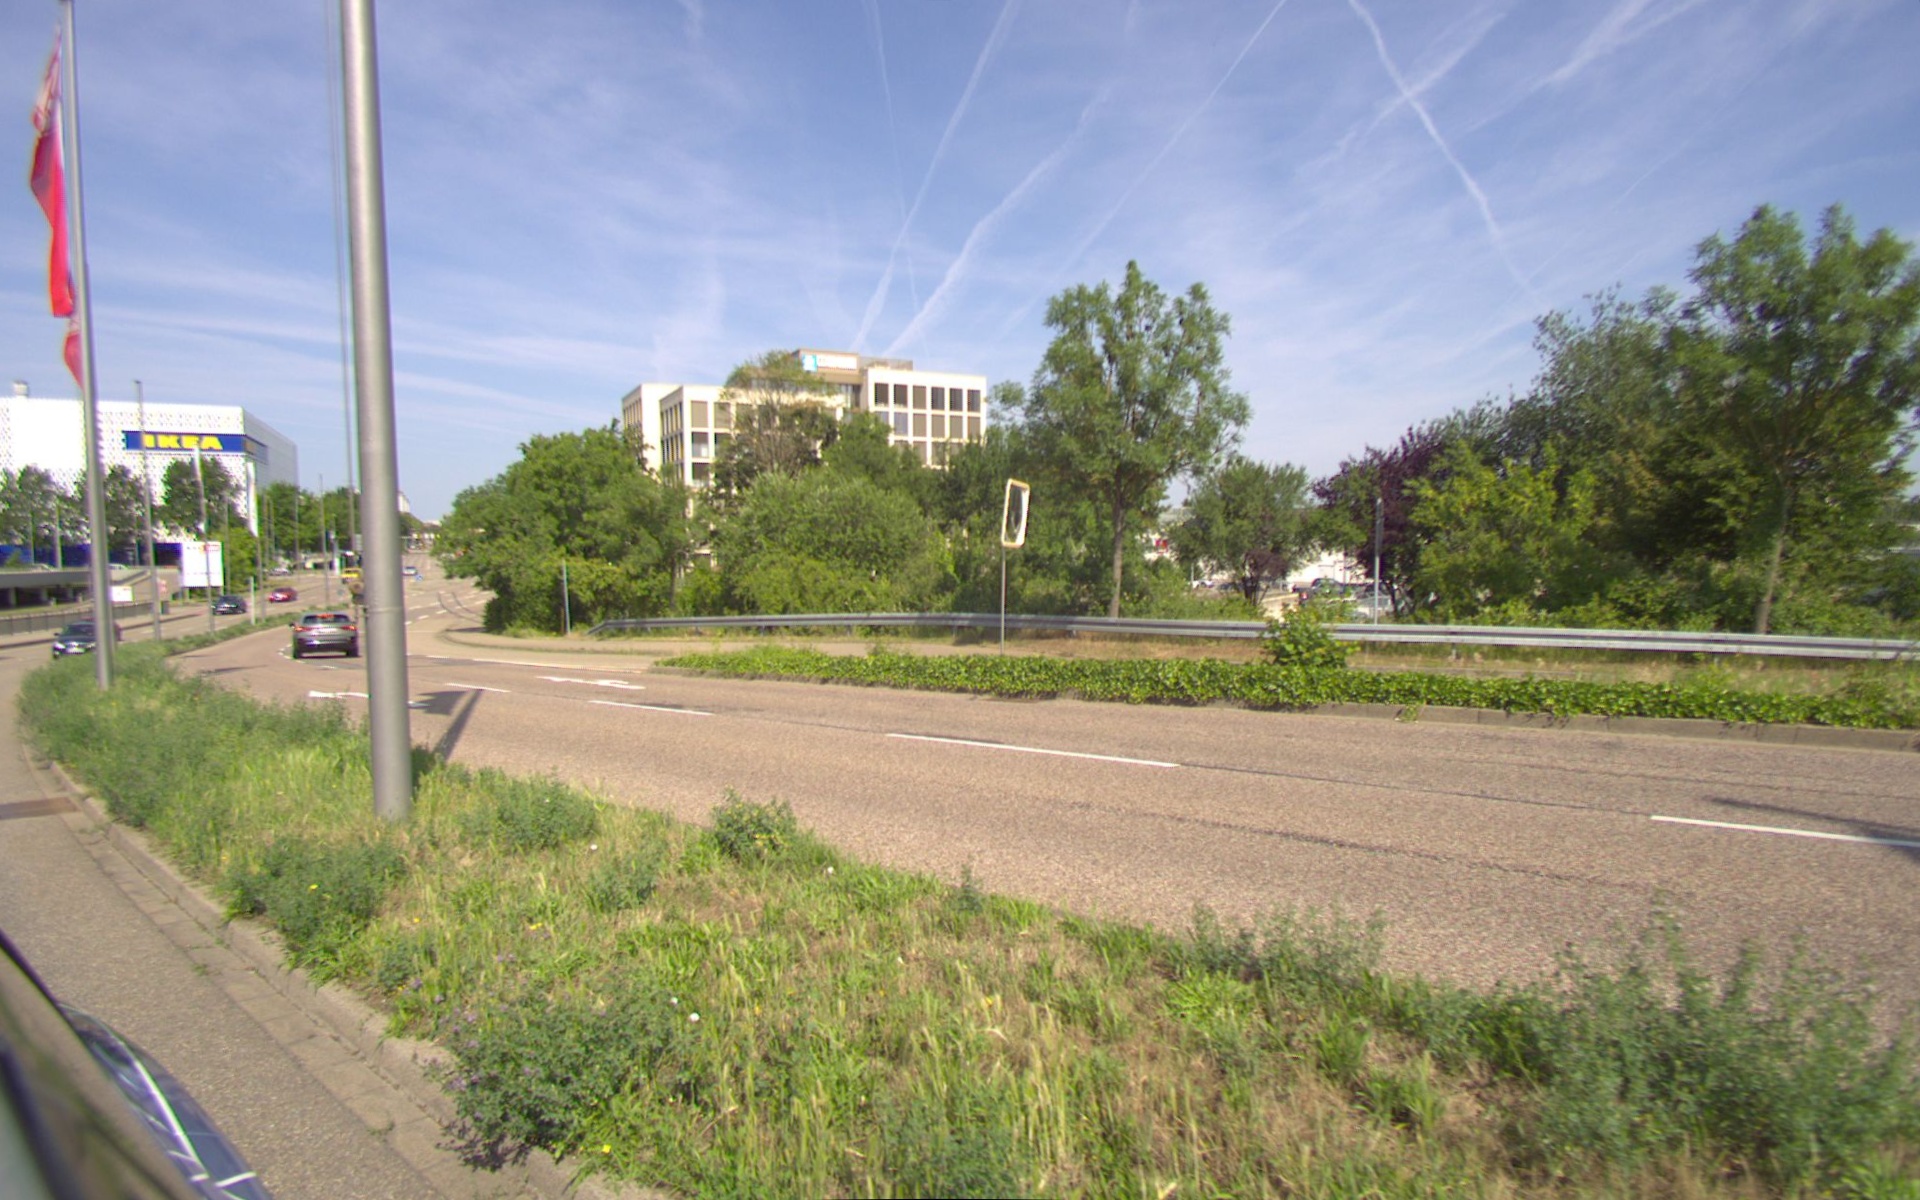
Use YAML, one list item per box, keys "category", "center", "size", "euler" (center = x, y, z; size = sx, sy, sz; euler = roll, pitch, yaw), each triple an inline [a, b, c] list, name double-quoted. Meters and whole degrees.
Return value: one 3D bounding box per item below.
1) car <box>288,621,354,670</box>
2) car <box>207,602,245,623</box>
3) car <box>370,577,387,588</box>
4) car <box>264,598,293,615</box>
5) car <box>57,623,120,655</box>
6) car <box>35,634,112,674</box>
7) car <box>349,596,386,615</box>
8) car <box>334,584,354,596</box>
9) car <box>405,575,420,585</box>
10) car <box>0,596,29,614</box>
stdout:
- category: "car"
  center: [-21.501, 1.503, 34.020]
  size: [1.759, 1.496, 4.271]
  euler: [0, -2, -33]
- category: "car"
  center: [-60.667, 0.998, 83.726]
  size: [1.795, 1.485, 4.014]
  euler: [-1, 3, -25]
- category: "car"
  center: [-87.712, -2.684, 152.669]
  size: [1.795, 1.485, 4.014]
  euler: [-1, 3, -23]
- category: "car"
  center: [-67.636, 0.610, 100.495]
  size: [1.795, 1.485, 4.014]
  euler: [-1, 3, -25]
- category: "car"
  center: [-48.754, 2.171, 56.701]
  size: [1.748, 1.671, 4.157]
  euler: [-1, -1, -28]
- category: "car"
  center: [-35.580, 2.118, 40.707]
  size: [1.820, 1.429, 4.011]
  euler: [0, -1, -34]
- category: "car"
  center: [-55.106, 0.528, 94.039]
  size: [4.144, 1.540, 1.836]
  euler: [3, 3, 43]
- category: "car"
  center: [-82.297, -1.344, 135.208]
  size: [1.795, 1.485, 4.014]
  euler: [-1, 3, -25]
- category: "car"
  center: [-85.010, -3.098, 157.287]
  size: [1.795, 1.485, 4.014]
  euler: [-1, 3, -25]
- category: "car"
  center: [-102.169, 0.589, 107.667]
  size: [4.245, 1.848, 2.006]
  euler: [-2, 1, -31]
